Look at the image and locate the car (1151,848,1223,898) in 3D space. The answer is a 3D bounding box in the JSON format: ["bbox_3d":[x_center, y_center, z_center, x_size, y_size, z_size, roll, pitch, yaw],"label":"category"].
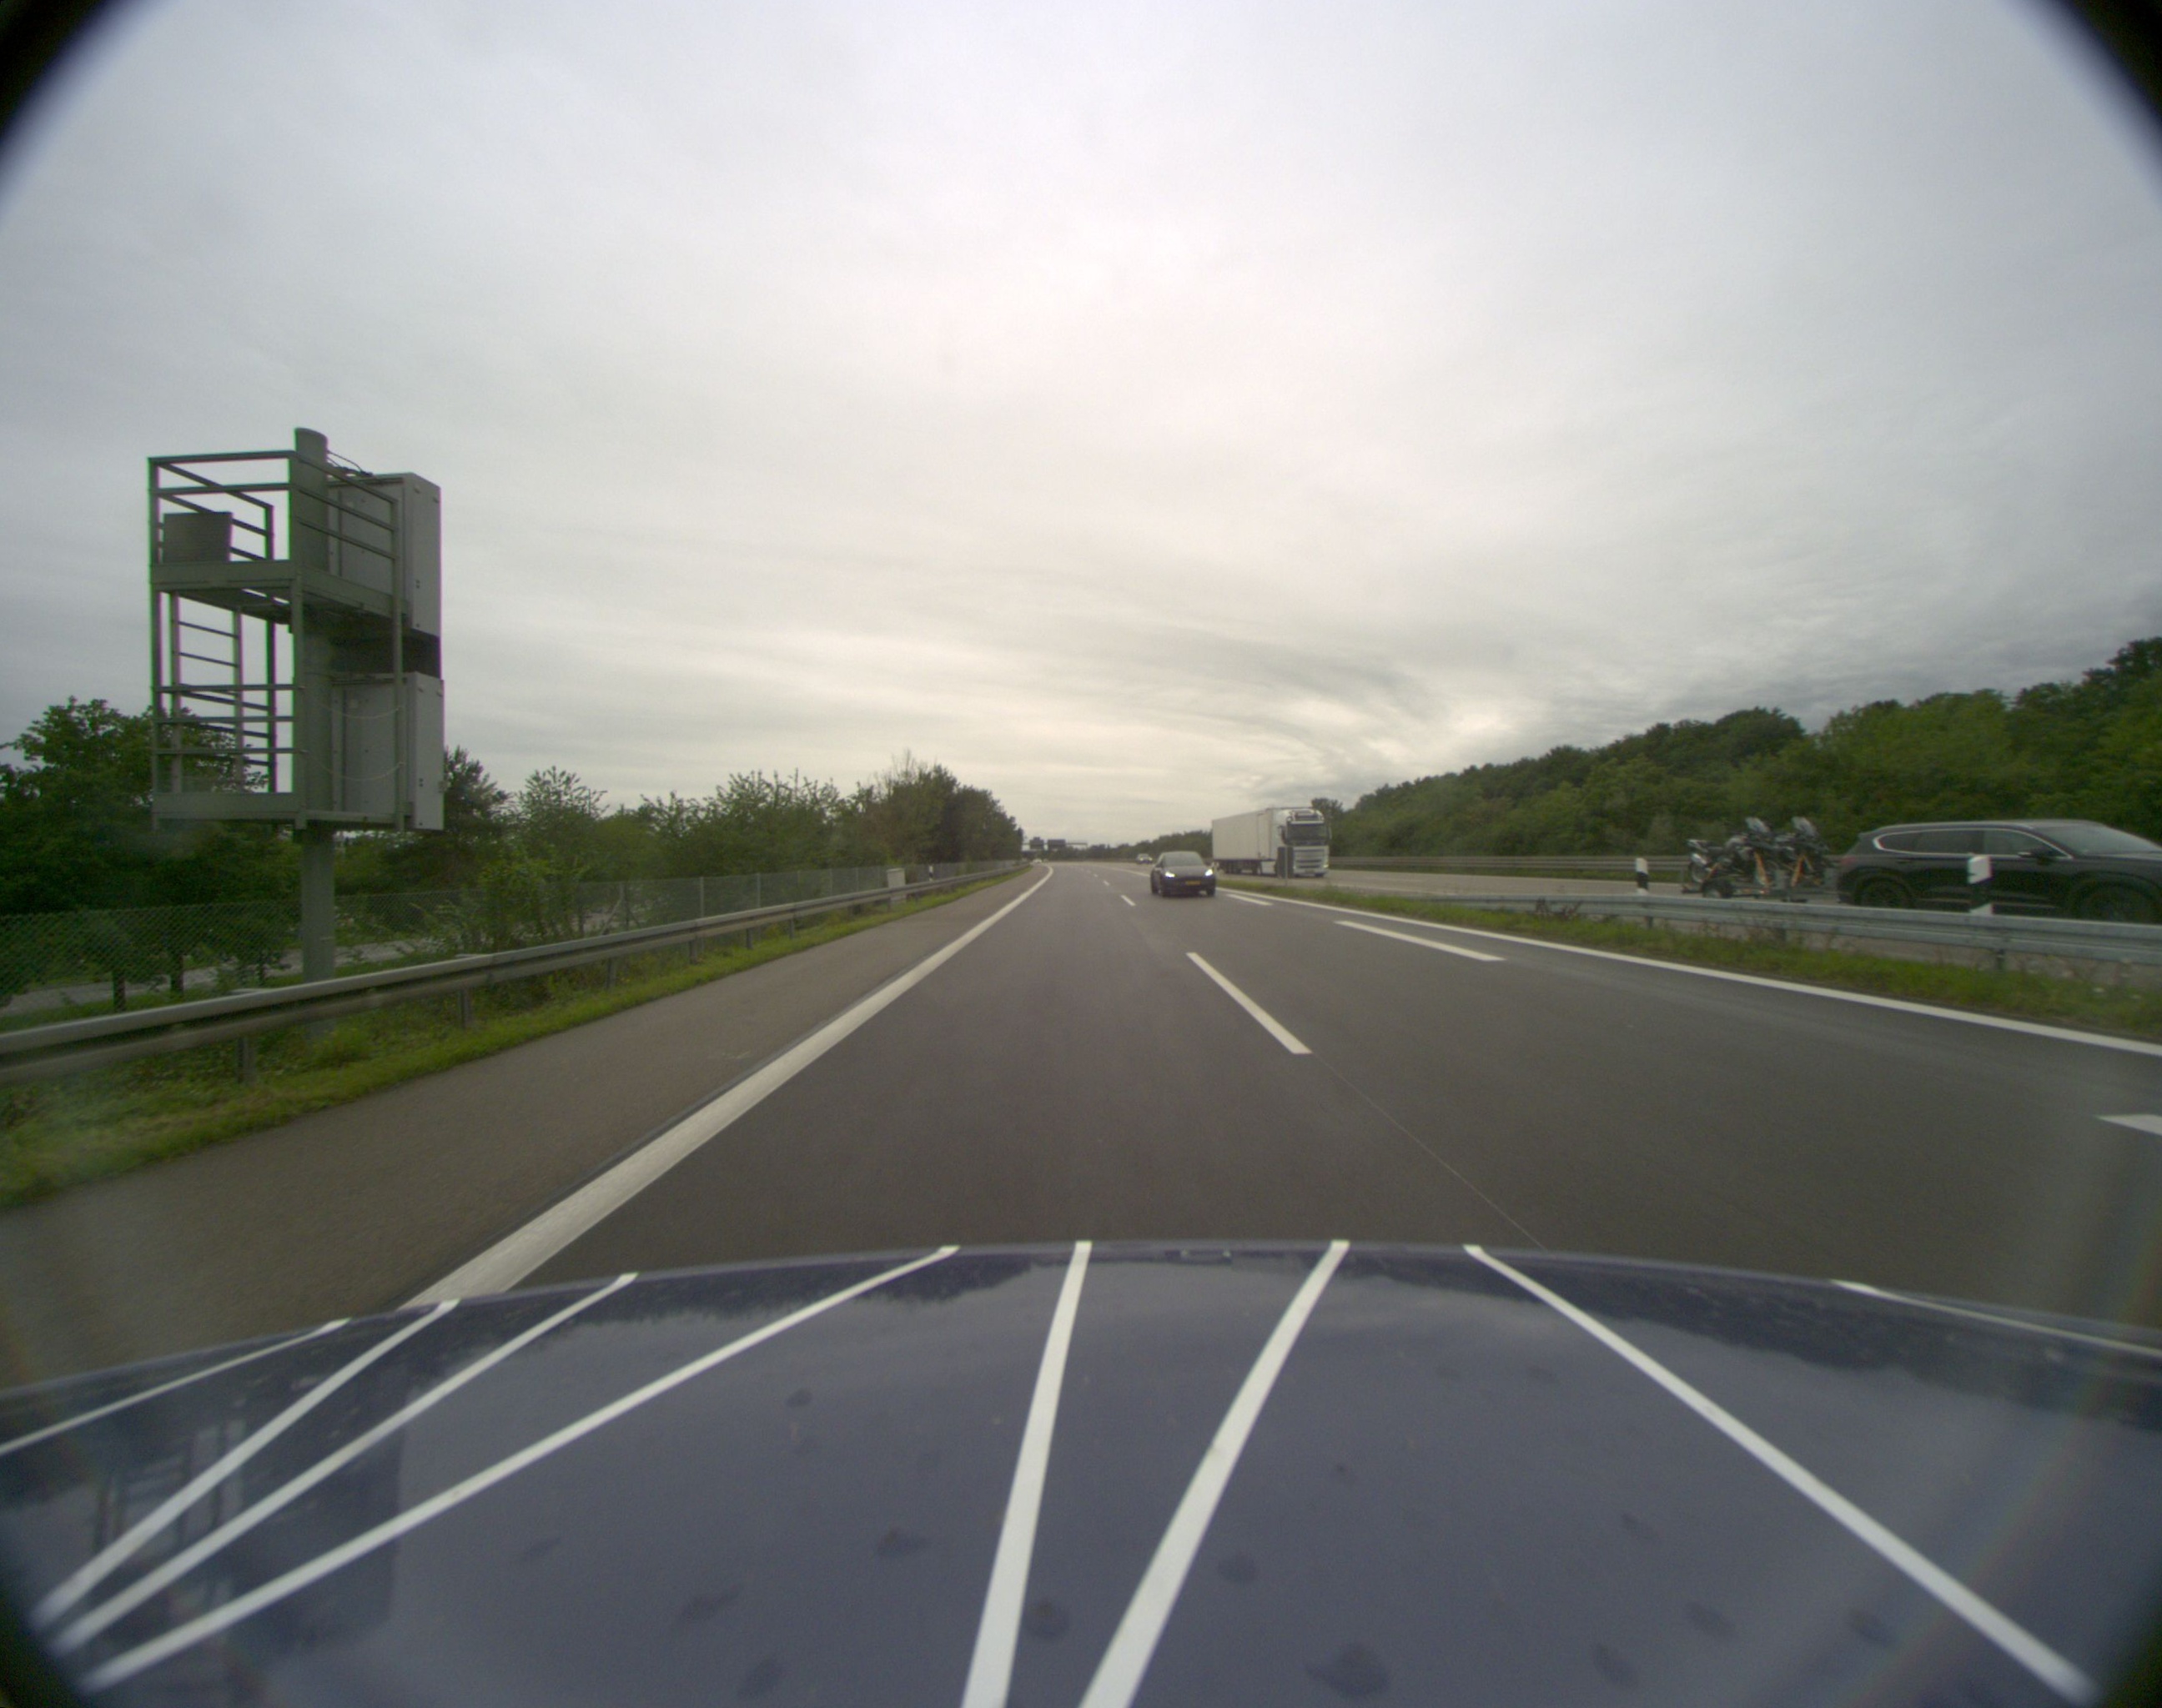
[{"bbox_3d":[3.886,0.646,28.597,1.966,1.628,4.553,-2,1,-1],"label":"car"}]

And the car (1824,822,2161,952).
[{"bbox_3d":[14.639,0.384,11.531,1.887,1.617,4.805,-2,1,-3],"label":"car"}]

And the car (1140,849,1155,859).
[{"bbox_3d":[11.165,-0.064,127.395,1.904,1.641,4.484,-2,0,-2],"label":"car"}]

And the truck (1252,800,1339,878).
[{"bbox_3d":[12.413,-0.827,44.541,2.774,4.111,6.442,-2,1,-4],"label":"truck"}]

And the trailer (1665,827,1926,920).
[{"bbox_3d":[14.452,0.329,15.680,1.887,1.617,3.609,-2,1,-3],"label":"trailer"}]

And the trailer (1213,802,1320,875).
[{"bbox_3d":[11.966,-0.908,51.048,2.774,4.111,13.945,-2,0,-4],"label":"trailer"}]
